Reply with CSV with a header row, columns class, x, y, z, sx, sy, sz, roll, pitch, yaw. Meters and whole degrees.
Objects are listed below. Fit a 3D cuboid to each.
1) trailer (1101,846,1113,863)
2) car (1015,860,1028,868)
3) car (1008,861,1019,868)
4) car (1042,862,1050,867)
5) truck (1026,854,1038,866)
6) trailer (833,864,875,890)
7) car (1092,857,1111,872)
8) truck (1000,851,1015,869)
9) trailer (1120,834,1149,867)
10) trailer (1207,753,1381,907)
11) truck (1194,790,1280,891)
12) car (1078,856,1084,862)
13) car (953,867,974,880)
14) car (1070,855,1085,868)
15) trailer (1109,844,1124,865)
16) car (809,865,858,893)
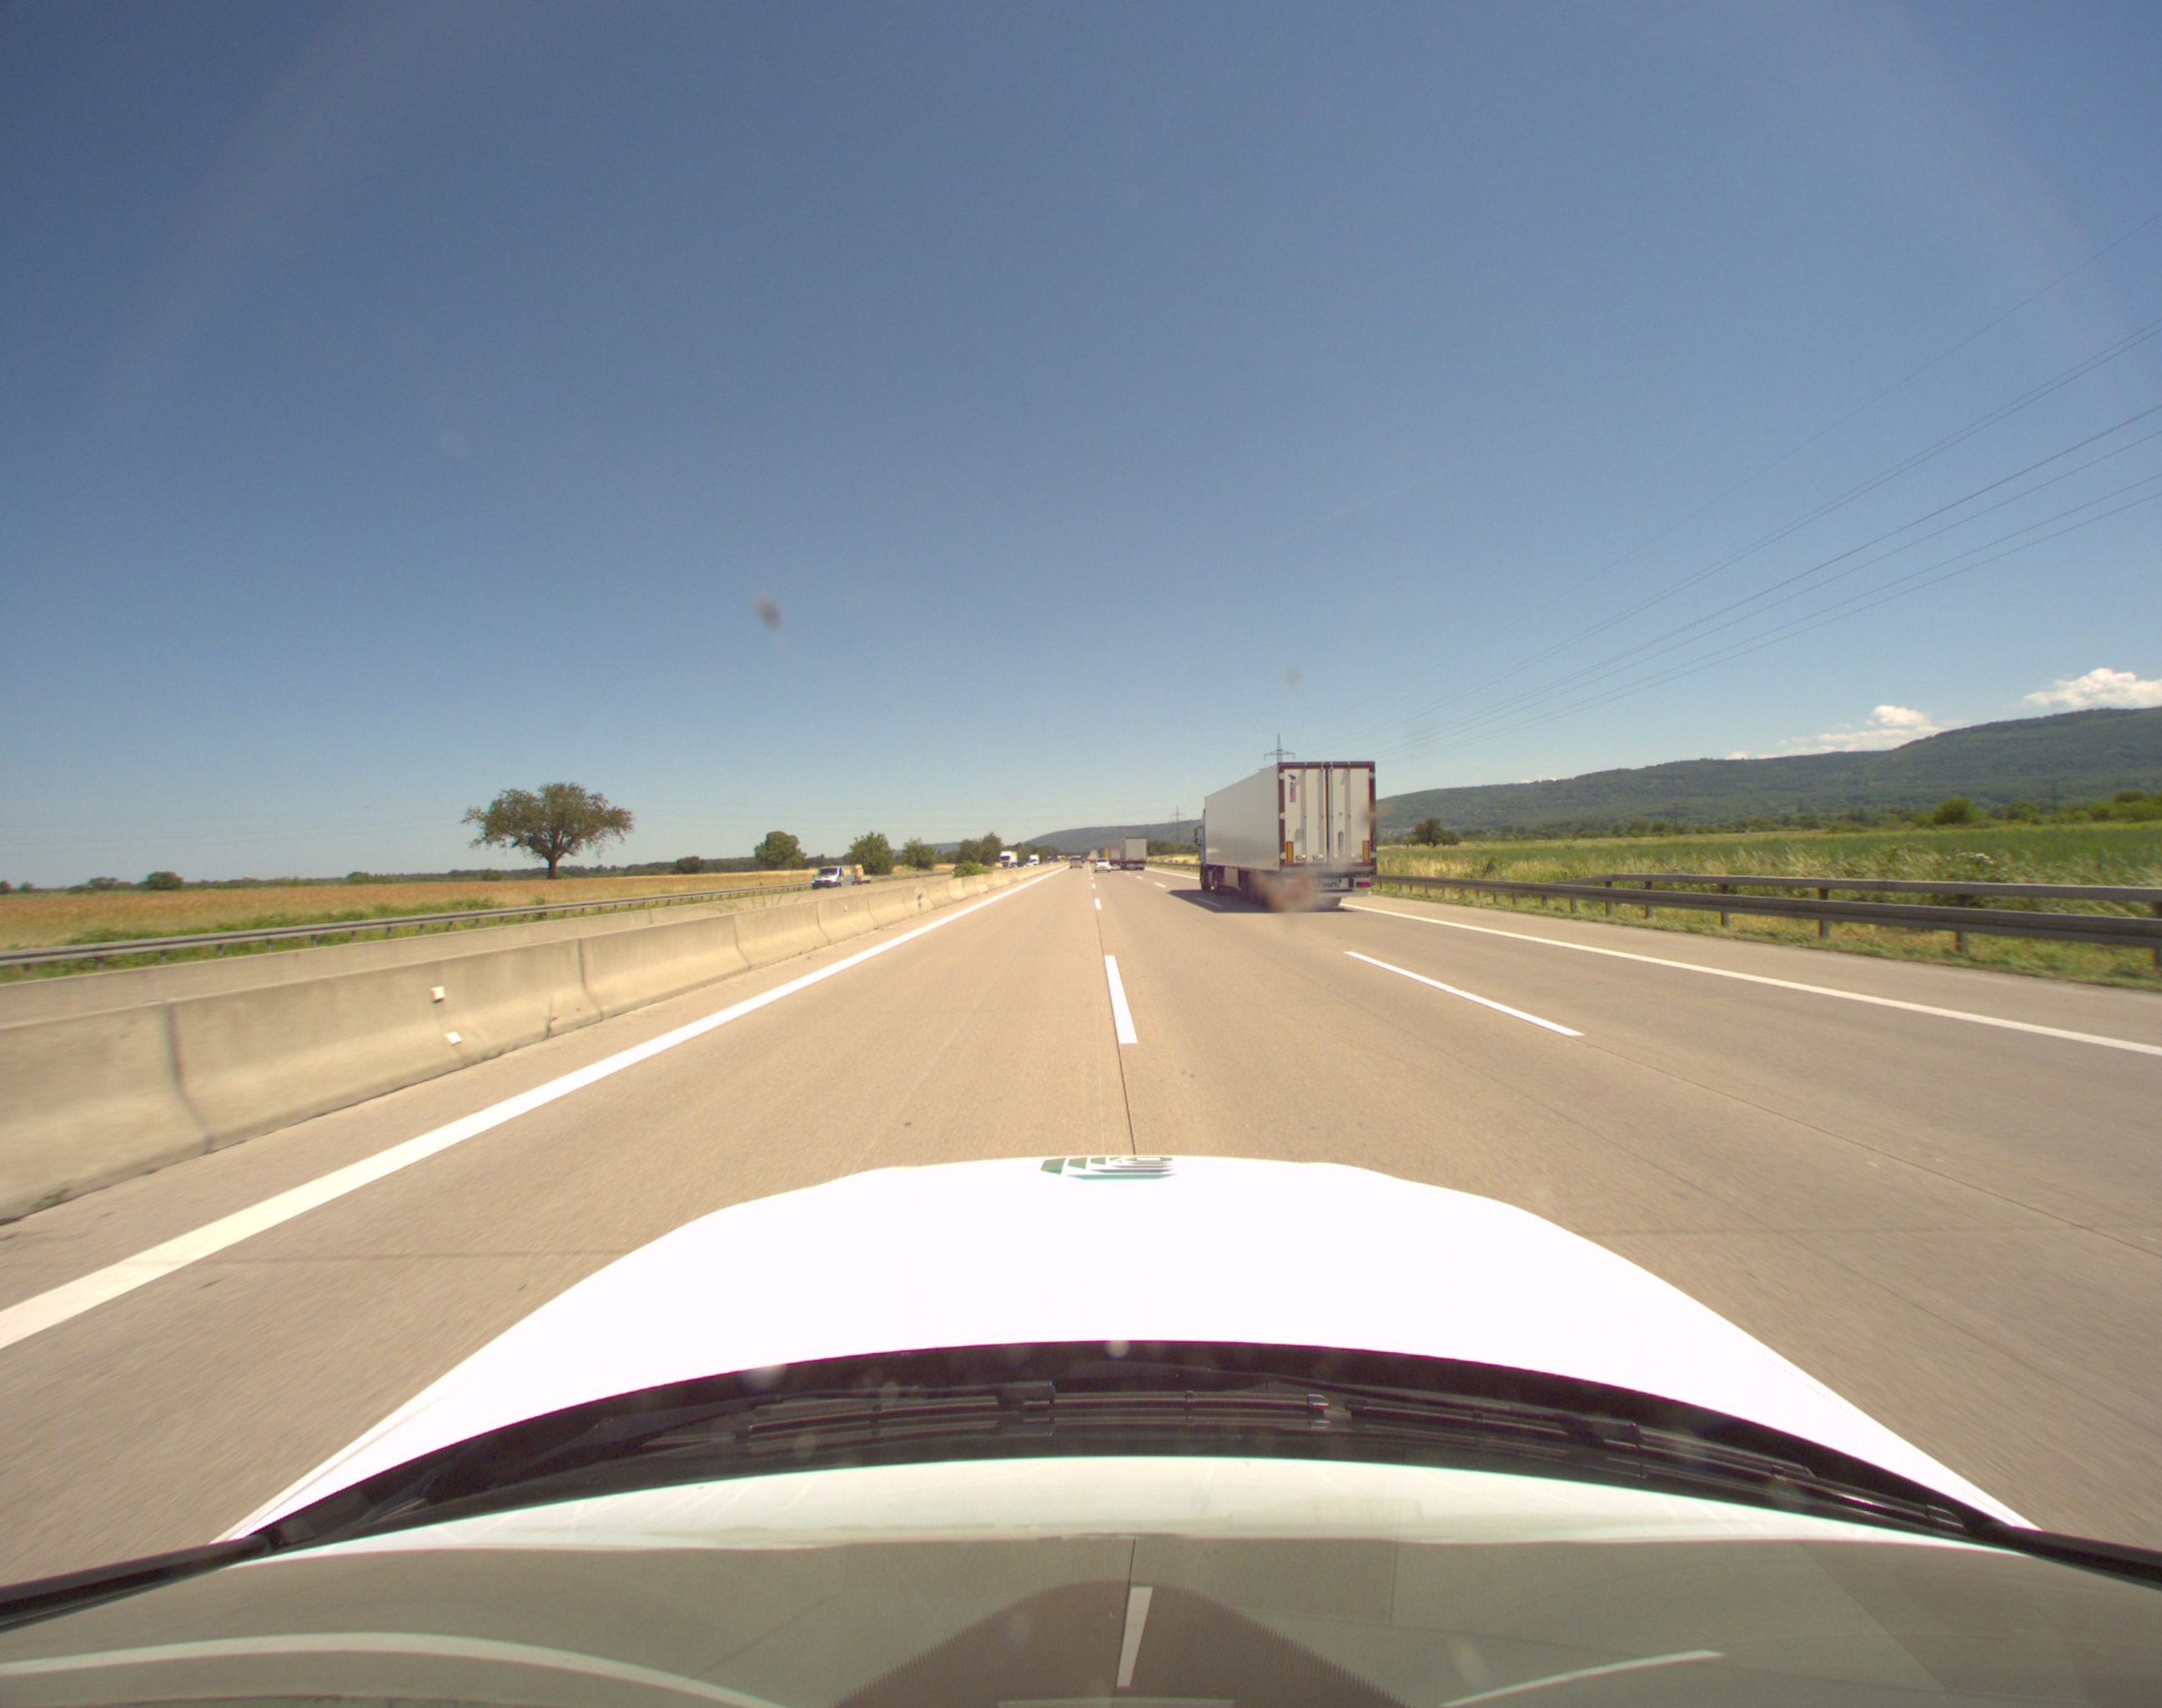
class,x,y,z,sx,sy,sz,roll,pitch,yaw
trailer,7.349,0.223,229.017,3.205,4.564,13.457,0,0,1
car,-9.535,1.649,131.246,1.766,1.240,4.676,0,0,0
car,-13.421,2.134,162.219,1.730,1.373,4.905,0,0,0
car,-10.287,3.017,239.241,1.839,1.351,4.495,-2,-1,2
truck,-13.323,1.525,221.588,2.539,3.142,7.921,-1,0,0
trailer,-18.288,1.810,65.843,1.803,2.042,5.613,0,0,1
car,2.265,1.121,89.006,2.099,1.536,4.123,0,0,2
truck,-16.822,1.401,186.795,2.809,4.044,5.678,0,-1,1
trailer,6.842,-0.359,105.289,3.007,4.061,14.208,0,0,1
trailer,6.572,-0.589,27.820,2.699,4.044,12.902,0,0,1
truck,6.683,-0.530,35.662,2.741,4.044,5.466,0,-1,0
car,-0.065,1.514,240.396,1.777,1.881,4.000,0,0,1
car,-13.816,2.288,95.725,1.707,1.359,5.042,0,0,0
car,-0.556,1.129,127.081,2.246,2.014,4.298,0,0,1
trailer,7.207,0.141,167.287,2.863,4.101,13.515,0,0,1
car,-18.339,1.813,60.562,1.859,1.944,5.565,0,0,1
